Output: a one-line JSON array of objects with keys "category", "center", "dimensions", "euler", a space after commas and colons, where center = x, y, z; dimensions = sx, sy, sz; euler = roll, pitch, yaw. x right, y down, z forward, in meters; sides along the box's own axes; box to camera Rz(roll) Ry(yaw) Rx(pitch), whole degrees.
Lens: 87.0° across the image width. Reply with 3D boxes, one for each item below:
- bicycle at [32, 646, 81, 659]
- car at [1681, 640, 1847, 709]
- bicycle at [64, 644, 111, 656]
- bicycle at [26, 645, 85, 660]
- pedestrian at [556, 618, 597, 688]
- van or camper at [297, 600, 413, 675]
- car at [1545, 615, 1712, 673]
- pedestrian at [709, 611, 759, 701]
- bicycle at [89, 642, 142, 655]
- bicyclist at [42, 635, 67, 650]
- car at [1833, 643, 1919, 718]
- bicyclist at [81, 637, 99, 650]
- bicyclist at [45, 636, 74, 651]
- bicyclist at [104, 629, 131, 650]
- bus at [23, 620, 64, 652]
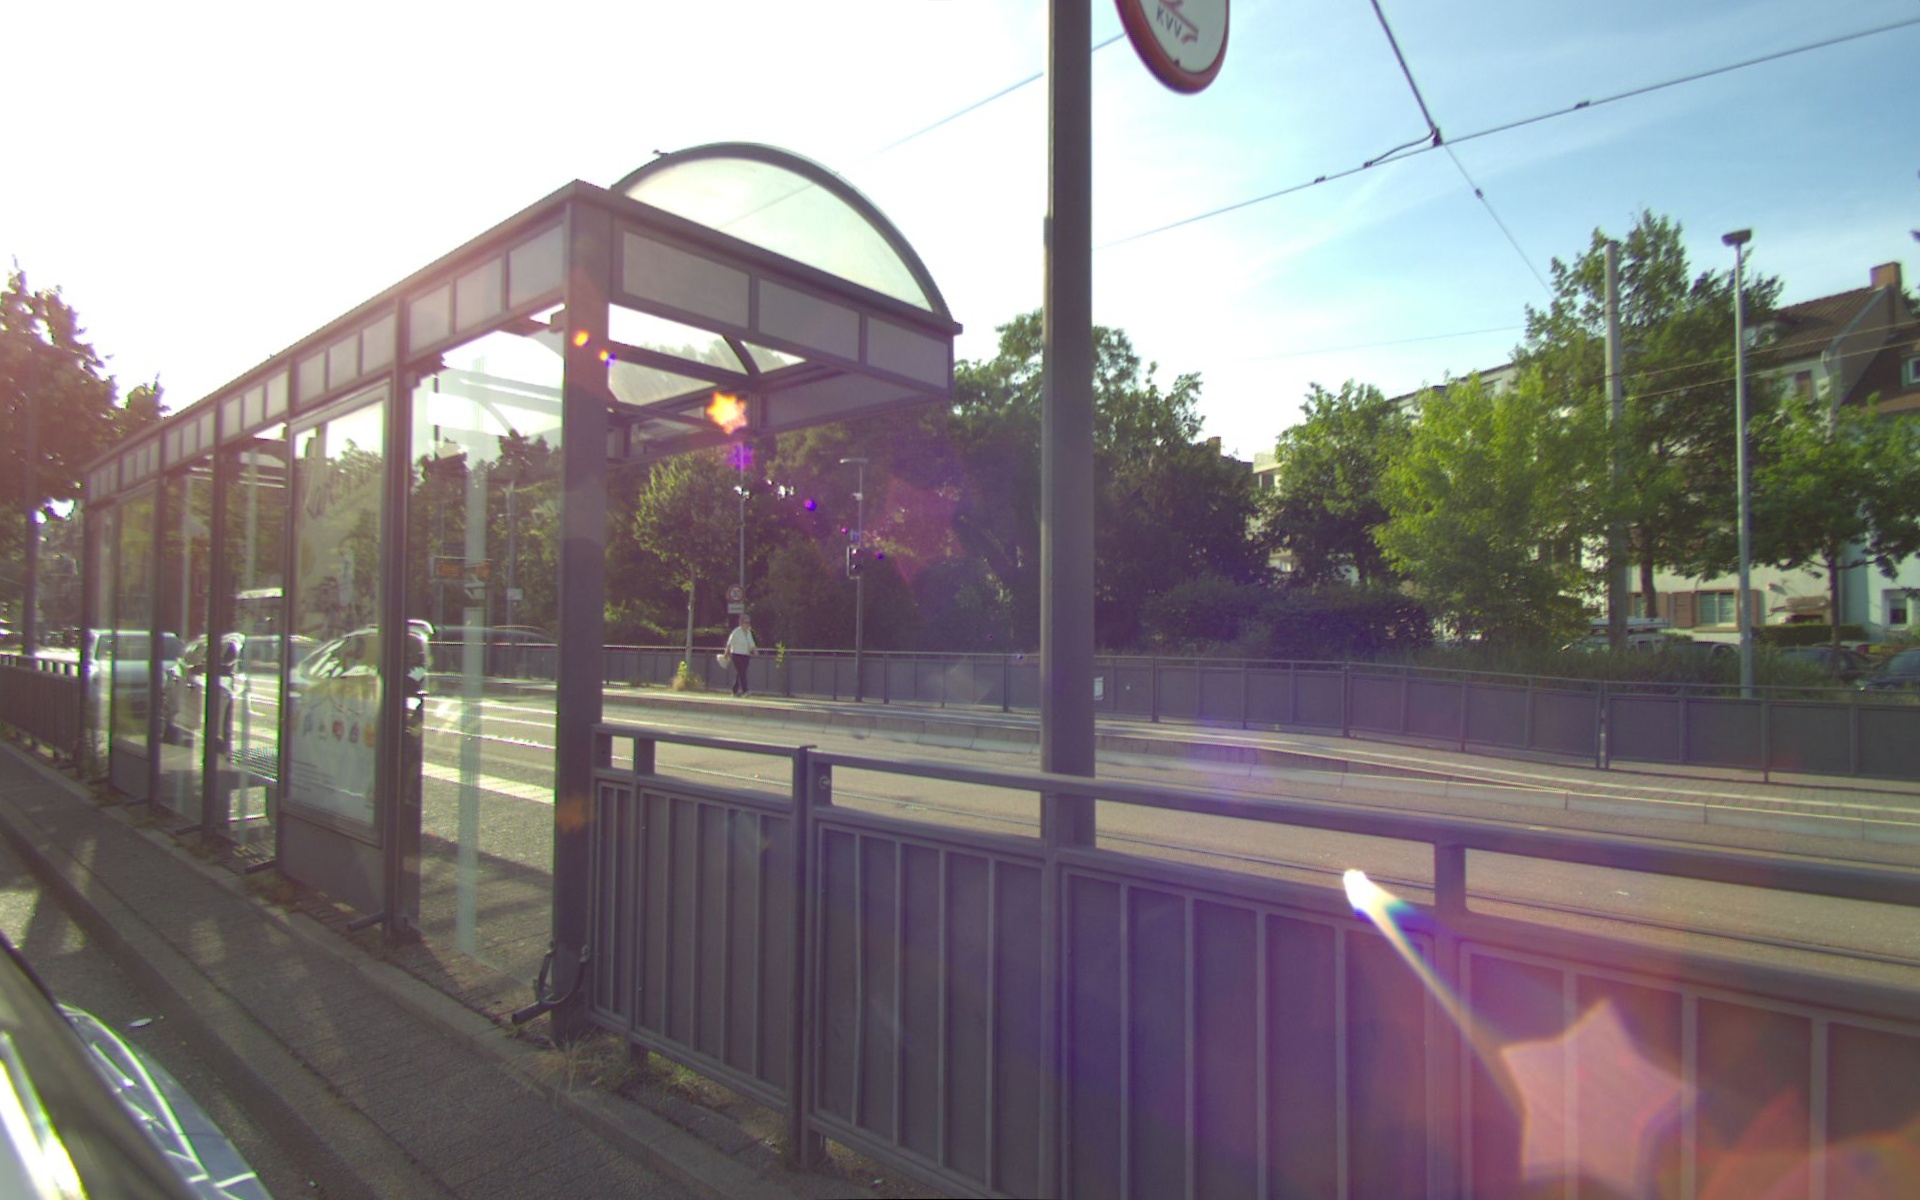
[{"category": "bicycle", "center": [-63.475, 3.660, 71.091], "dimensions": [0.631, 0.888, 2.502], "euler": [-2, -3, 45]}, {"category": "car", "center": [18.175, 1.625, 22.838], "dimensions": [3.935, 1.409, 2.004], "euler": [2, -3, -37]}, {"category": "bicycle", "center": [-63.040, 3.620, 73.161], "dimensions": [0.631, 0.888, 2.503], "euler": [-2, -3, 44]}, {"category": "bicycle", "center": [-62.449, 3.639, 69.903], "dimensions": [0.878, 0.988, 2.925], "euler": [-2, -3, 38]}, {"category": "pedestrian", "center": [-9.516, 1.324, 25.123], "dimensions": [0.618, 1.697, 0.613], "euler": [-2, -6, 41]}, {"category": "van or camper", "center": [-26.293, 1.536, 43.876], "dimensions": [6.408, 2.990, 2.494], "euler": [-1, 0, 41]}, {"category": "car", "center": [18.117, 1.198, 27.447], "dimensions": [3.930, 1.497, 1.854], "euler": [1, -3, -22]}, {"category": "pedestrian", "center": [-4.404, 1.095, 19.764], "dimensions": [0.618, 1.697, 0.613], "euler": [-2, -6, 41]}, {"category": "bicycle", "center": [-63.441, 3.656, 76.044], "dimensions": [0.878, 0.988, 2.925], "euler": [-2, -3, 38]}, {"category": "bicyclist", "center": [-63.550, 2.992, 71.033], "dimensions": [0.672, 1.032, 1.200], "euler": [-2, -3, 44]}, {"category": "car", "center": [19.627, 1.602, 20.611], "dimensions": [3.935, 1.409, 2.004], "euler": [2, -3, -37]}, {"category": "bicyclist", "center": [-62.978, 3.148, 73.249], "dimensions": [0.617, 0.920, 0.885], "euler": [-2, -3, 44]}, {"category": "bicyclist", "center": [-62.342, 3.002, 70.054], "dimensions": [0.887, 1.014, 1.384], "euler": [-2, -3, 39]}, {"category": "bicyclist", "center": [-63.385, 2.959, 76.151], "dimensions": [0.887, 1.559, 1.384], "euler": [-2, -3, 39]}, {"category": "bus", "center": [-102.544, 3.953, 113.200], "dimensions": [9.258, 3.461, 2.405], "euler": [-1, 0, 41]}]
